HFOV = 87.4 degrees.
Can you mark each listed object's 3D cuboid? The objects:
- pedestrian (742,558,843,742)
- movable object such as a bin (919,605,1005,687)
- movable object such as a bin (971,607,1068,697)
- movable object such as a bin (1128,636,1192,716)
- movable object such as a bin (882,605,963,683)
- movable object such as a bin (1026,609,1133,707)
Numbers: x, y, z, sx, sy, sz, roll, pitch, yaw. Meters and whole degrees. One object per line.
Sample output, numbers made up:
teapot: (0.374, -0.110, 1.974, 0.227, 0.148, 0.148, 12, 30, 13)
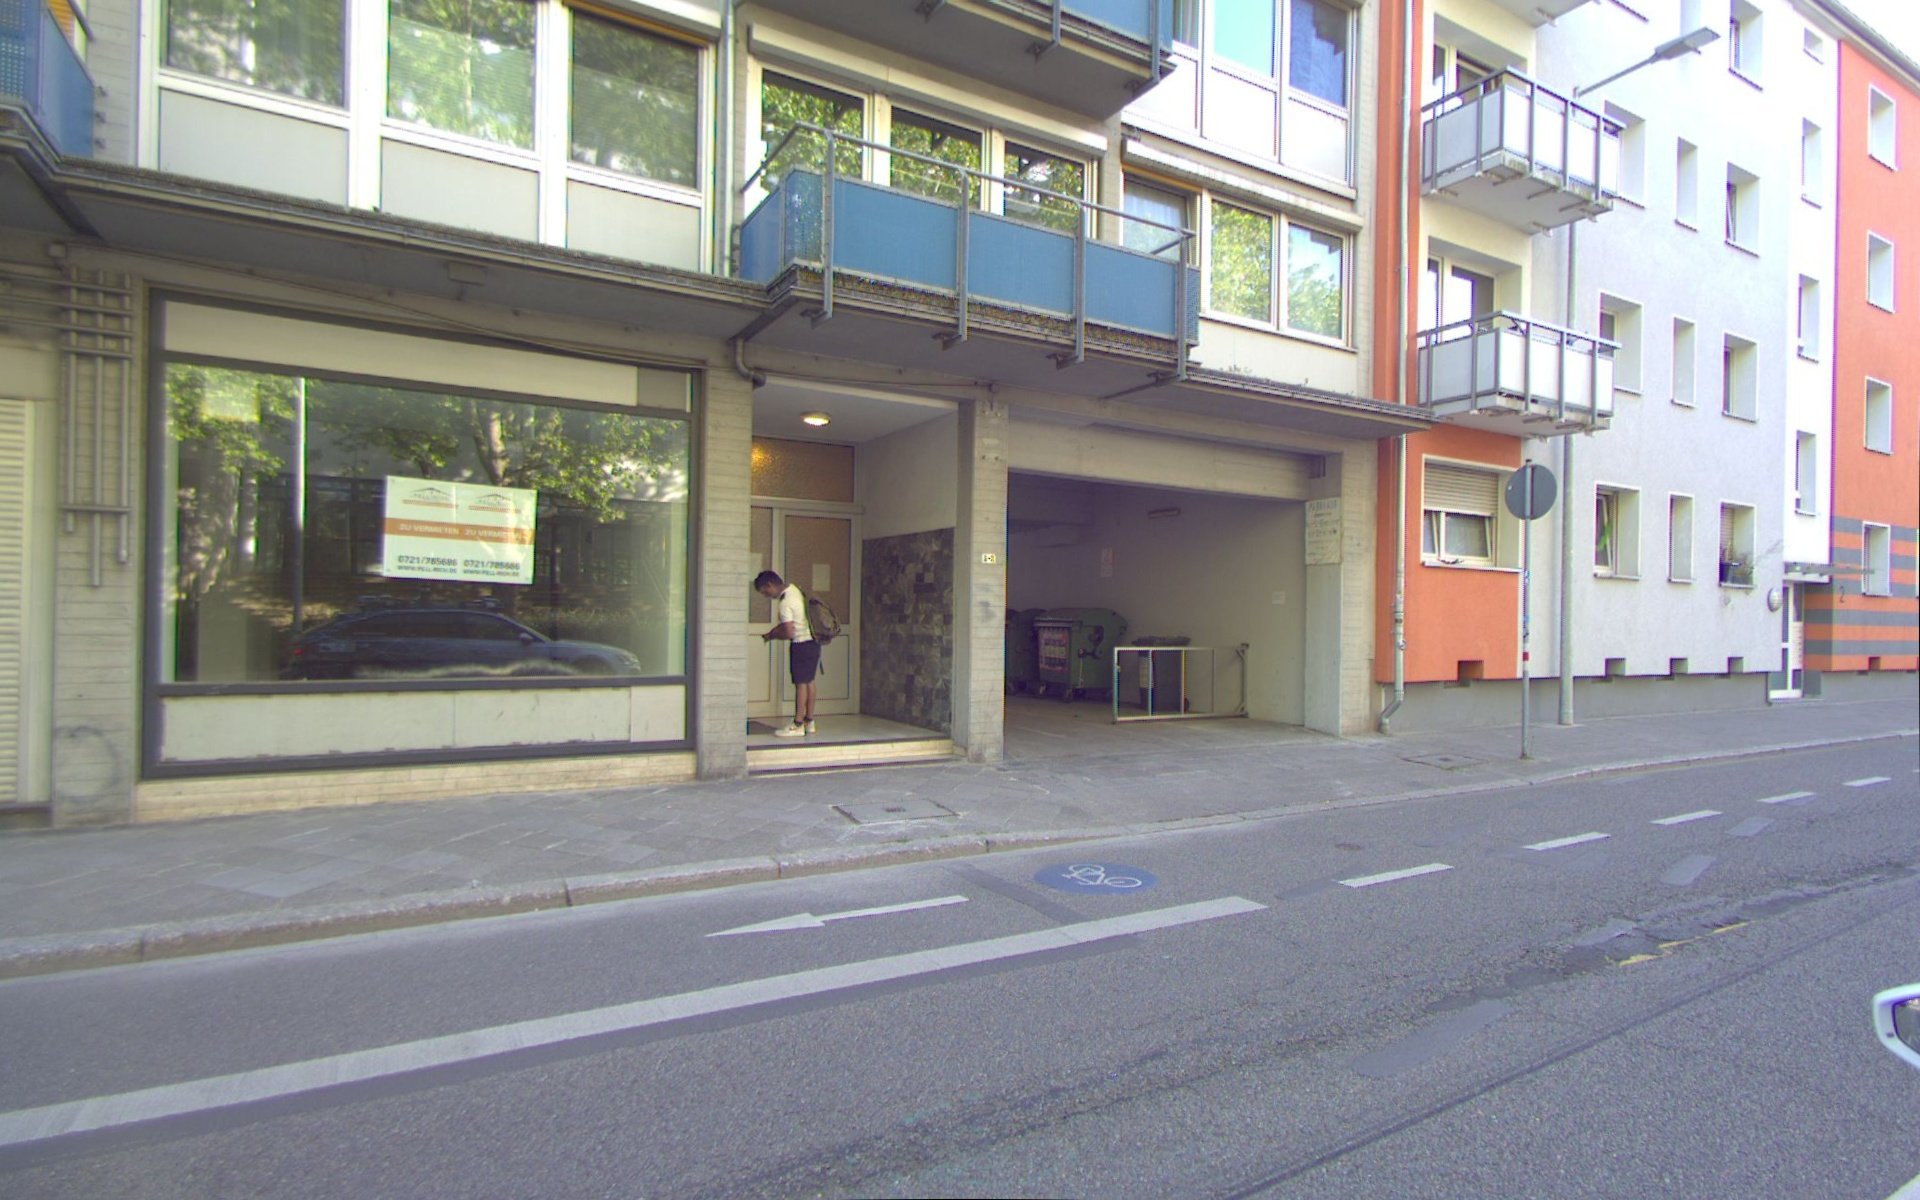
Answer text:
pedestrian: (-1.557, 0.456, 9.461, 0.821, 1.639, 0.793, 2, 0, -4)
movable object such as a bin: (0.023, 0.843, 18.695, 1.120, 1.444, 1.268, 2, 0, -28)
movable object such as a bin: (1.003, 0.870, 17.152, 1.120, 1.444, 1.268, 2, 0, -28)
movable object such as a bin: (2.882, 1.082, 14.487, 0.713, 1.094, 0.533, 2, 0, -29)
movable object such as a bin: (-0.747, 0.847, 19.788, 1.120, 1.444, 1.268, 2, 0, -28)
movable object such as a bin: (1.870, 0.884, 15.811, 1.120, 1.444, 1.268, 2, 0, -28)
